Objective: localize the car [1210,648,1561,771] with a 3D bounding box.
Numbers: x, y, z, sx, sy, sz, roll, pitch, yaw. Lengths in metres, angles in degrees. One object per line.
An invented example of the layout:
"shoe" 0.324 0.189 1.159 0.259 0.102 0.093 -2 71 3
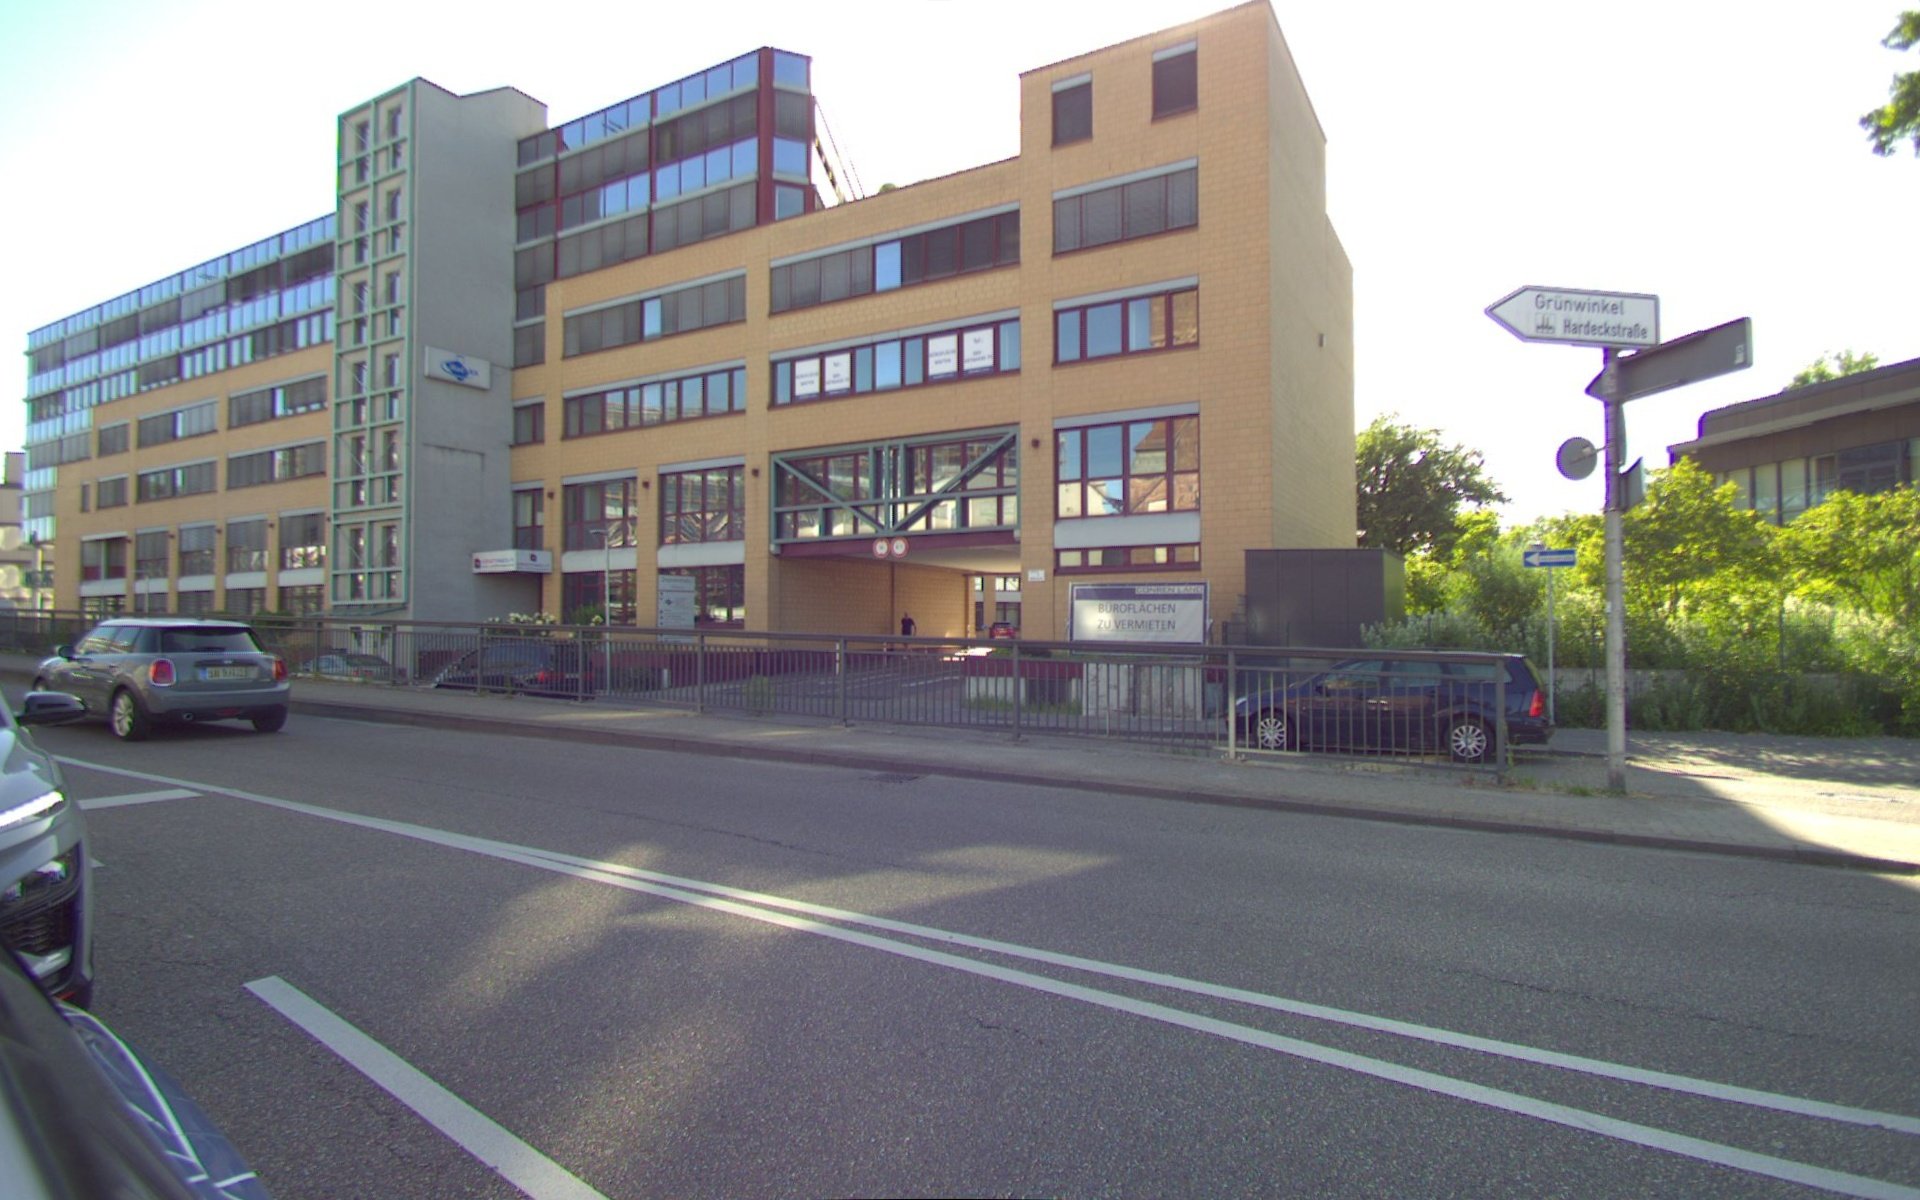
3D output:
"car" 6.081 1.463 14.679 4.438 1.515 1.805 -2 -3 33

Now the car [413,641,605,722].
"car" -11.129 1.925 24.930 4.667 1.771 1.938 -1 -1 29

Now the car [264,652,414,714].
"car" -17.716 2.307 28.851 4.340 1.616 1.807 -1 -3 30

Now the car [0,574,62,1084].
"car" -5.066 0.720 3.956 4.219 1.582 1.825 -1 -1 42

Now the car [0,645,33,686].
"car" -41.459 2.782 43.091 3.988 1.674 1.977 -1 -3 33

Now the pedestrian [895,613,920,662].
"pedestrian" -2.006 1.425 38.753 0.676 1.858 0.779 -2 -3 28

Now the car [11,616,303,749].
"car" -10.411 0.975 13.072 3.900 1.468 1.673 0 -3 31

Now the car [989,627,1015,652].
"car" 2.779 2.596 66.717 1.621 1.586 3.150 -1 -2 2
